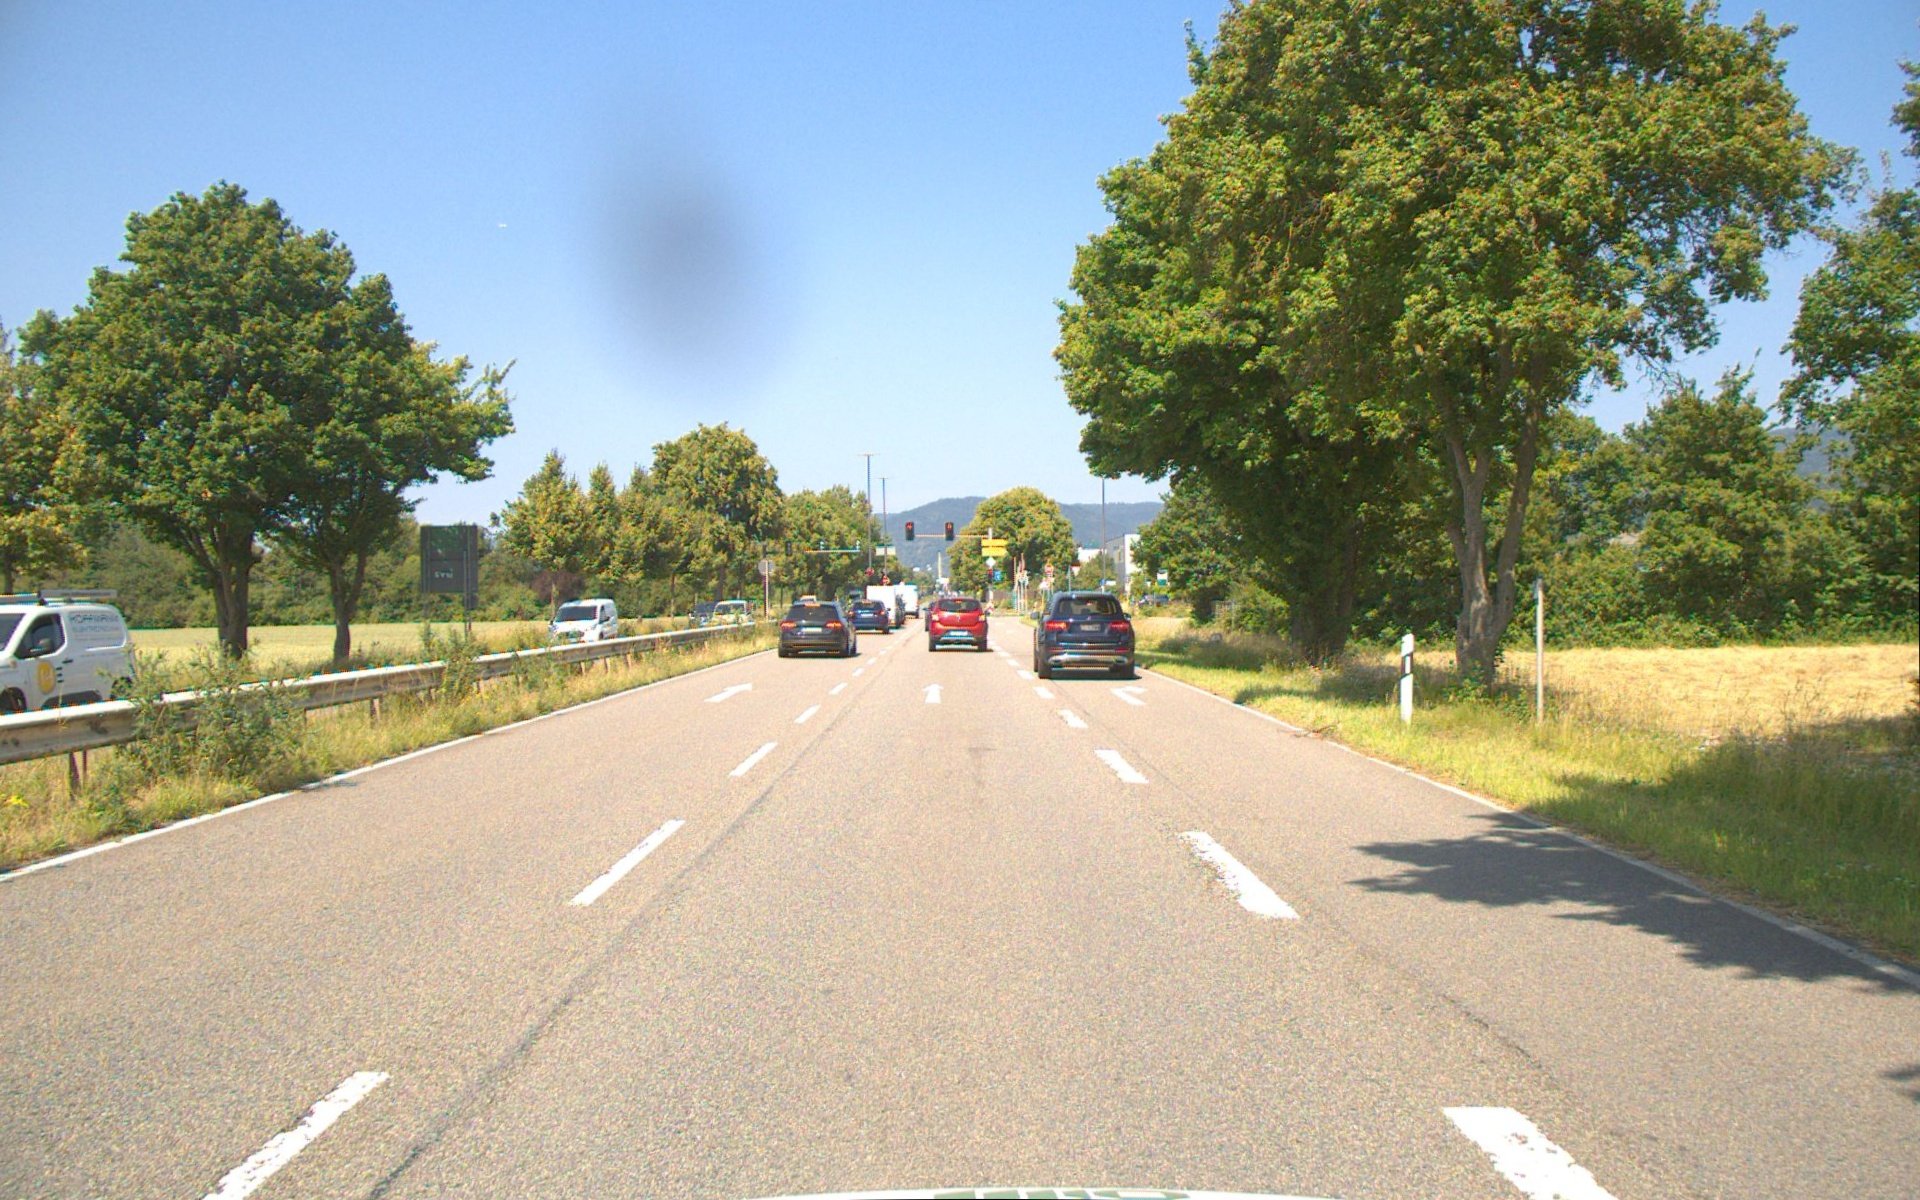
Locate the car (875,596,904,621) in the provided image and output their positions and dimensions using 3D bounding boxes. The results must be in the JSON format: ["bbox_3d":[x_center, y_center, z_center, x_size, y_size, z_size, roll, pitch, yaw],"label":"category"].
[{"bbox_3d":[-4.514,0.539,106.641,1.689,1.628,3.955,0,0,0],"label":"car"}]

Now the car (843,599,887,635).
[{"bbox_3d":[-4.009,0.699,70.406,1.682,1.491,4.029,0,0,-1],"label":"car"}]

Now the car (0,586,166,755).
[{"bbox_3d":[-12.615,0.880,21.814,1.996,2.049,4.532,-1,0,1],"label":"car"}]

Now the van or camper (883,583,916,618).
[{"bbox_3d":[-4.292,0.018,118.051,2.134,2.343,4.827,-2,0,0],"label":"van or camper"}]

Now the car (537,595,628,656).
[{"bbox_3d":[-13.180,0.866,58.057,1.952,1.995,4.928,-1,0,1],"label":"car"}]

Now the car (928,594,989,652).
[{"bbox_3d":[-0.002,0.637,48.175,1.713,1.603,3.677,0,0,1],"label":"car"}]

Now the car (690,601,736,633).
[{"bbox_3d":[-13.536,0.906,90.923,1.953,1.692,4.479,-1,0,-1],"label":"car"}]

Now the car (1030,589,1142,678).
[{"bbox_3d":[2.423,0.609,32.680,1.952,1.645,4.340,0,0,1],"label":"car"}]

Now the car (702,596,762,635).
[{"bbox_3d":[-9.740,0.645,70.854,1.953,1.584,4.480,-1,0,0],"label":"car"}]

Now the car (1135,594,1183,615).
[{"bbox_3d":[16.517,0.357,137.125,3.736,1.608,2.076,-1,0,11],"label":"car"}]

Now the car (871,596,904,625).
[{"bbox_3d":[-4.059,0.572,93.395,1.688,1.603,3.892,0,0,0],"label":"car"}]

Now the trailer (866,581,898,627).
[{"bbox_3d":[-3.851,0.190,82.435,1.470,2.211,4.173,0,0,-1],"label":"trailer"}]

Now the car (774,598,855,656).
[{"bbox_3d":[-3.706,0.669,42.803,1.705,1.404,4.455,0,0,0],"label":"car"}]
